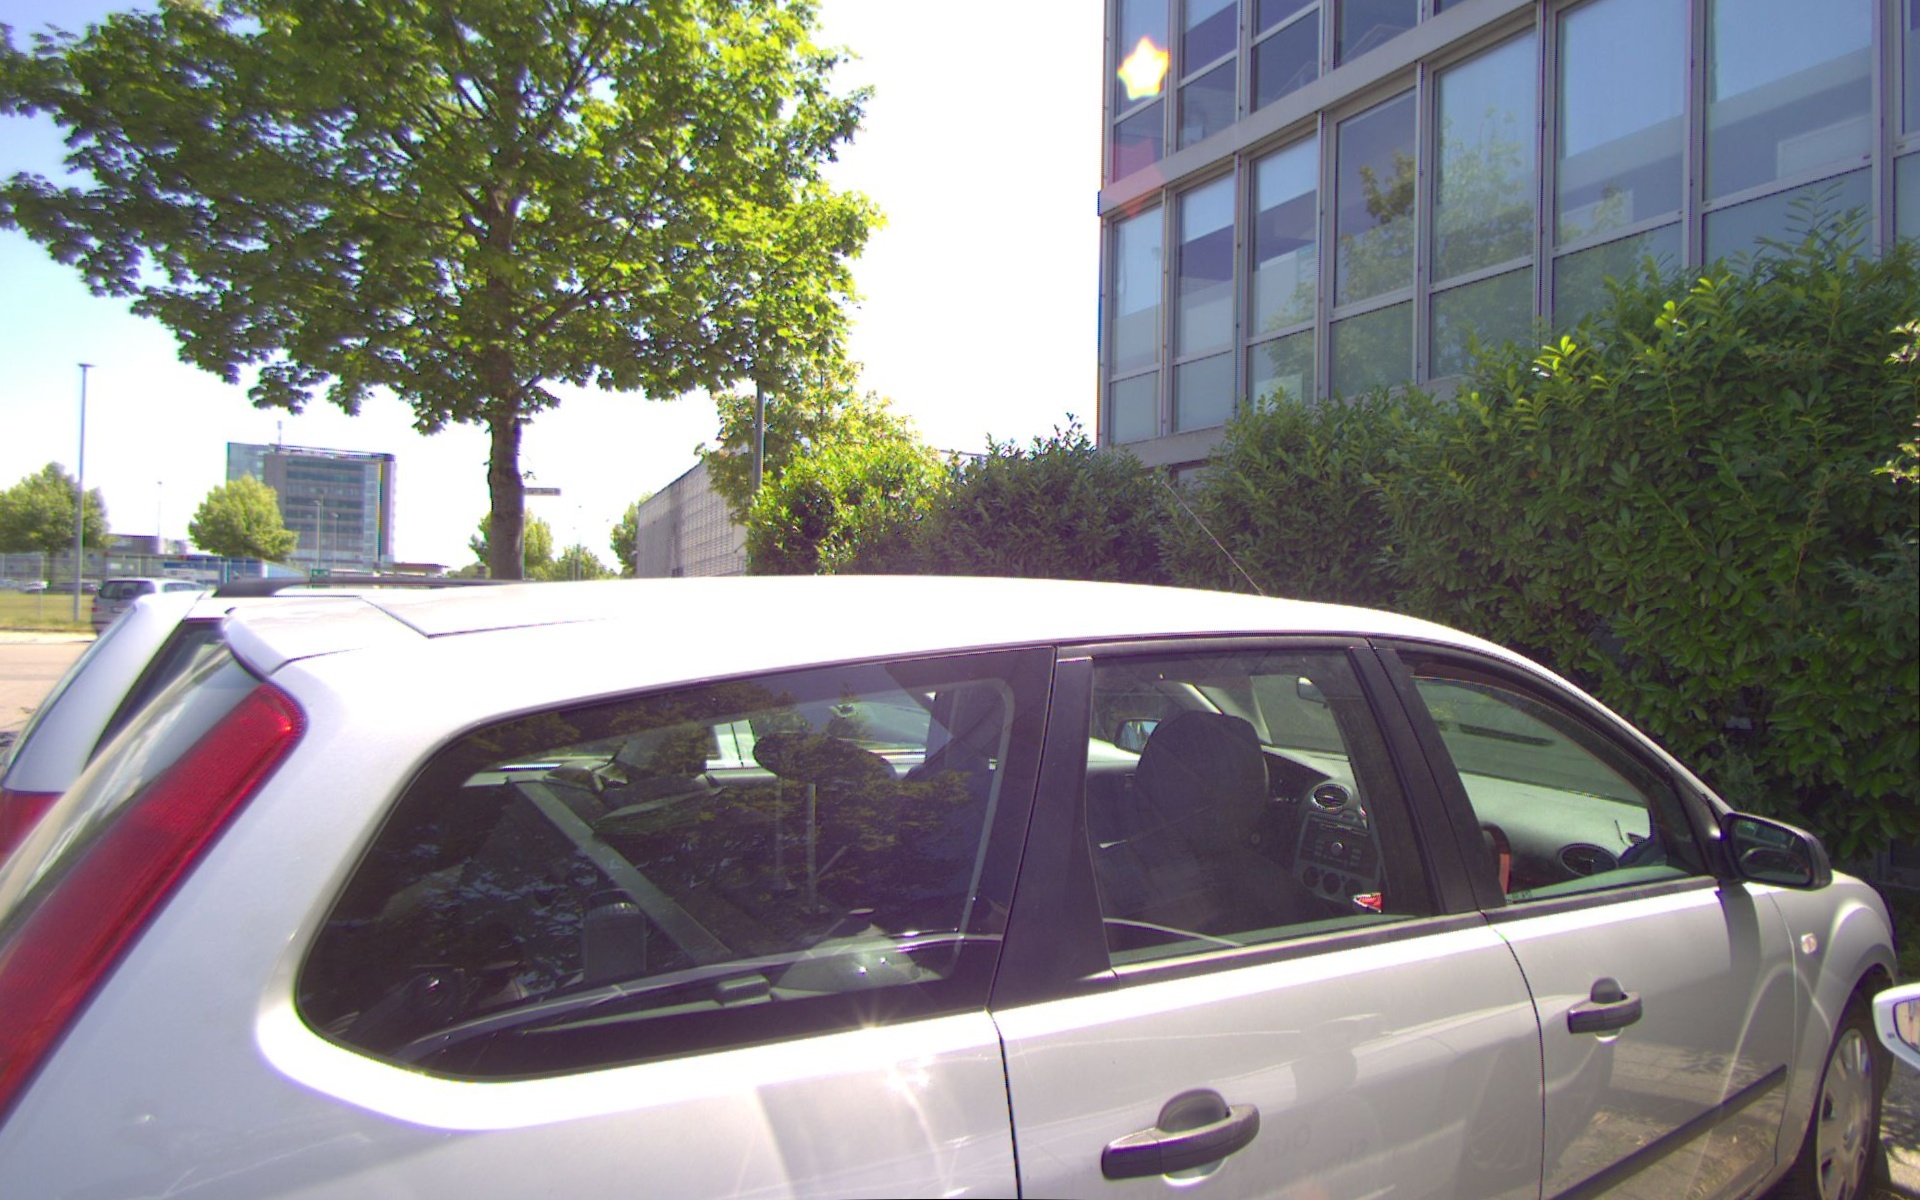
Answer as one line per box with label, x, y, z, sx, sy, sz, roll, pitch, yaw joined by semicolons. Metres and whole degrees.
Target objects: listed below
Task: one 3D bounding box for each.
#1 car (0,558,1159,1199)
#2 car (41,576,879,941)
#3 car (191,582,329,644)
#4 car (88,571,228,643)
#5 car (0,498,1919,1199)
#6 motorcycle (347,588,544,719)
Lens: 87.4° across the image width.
car;-1.220;0.681;3.779;3.852;1.499;1.637;1;0;-35
car;-2.553;0.667;5.818;3.852;1.468;1.637;1;0;-35
car;-18.964;0.334;27.410;1.624;1.542;3.991;1;0;-12
car;-21.380;0.166;26.962;1.746;1.761;3.981;1;0;-21
car;0.452;0.719;2.185;4.300;1.499;1.710;1;0;-32
motorcycle;-5.889;0.589;11.573;1.969;1.408;0.480;1;1;-35
